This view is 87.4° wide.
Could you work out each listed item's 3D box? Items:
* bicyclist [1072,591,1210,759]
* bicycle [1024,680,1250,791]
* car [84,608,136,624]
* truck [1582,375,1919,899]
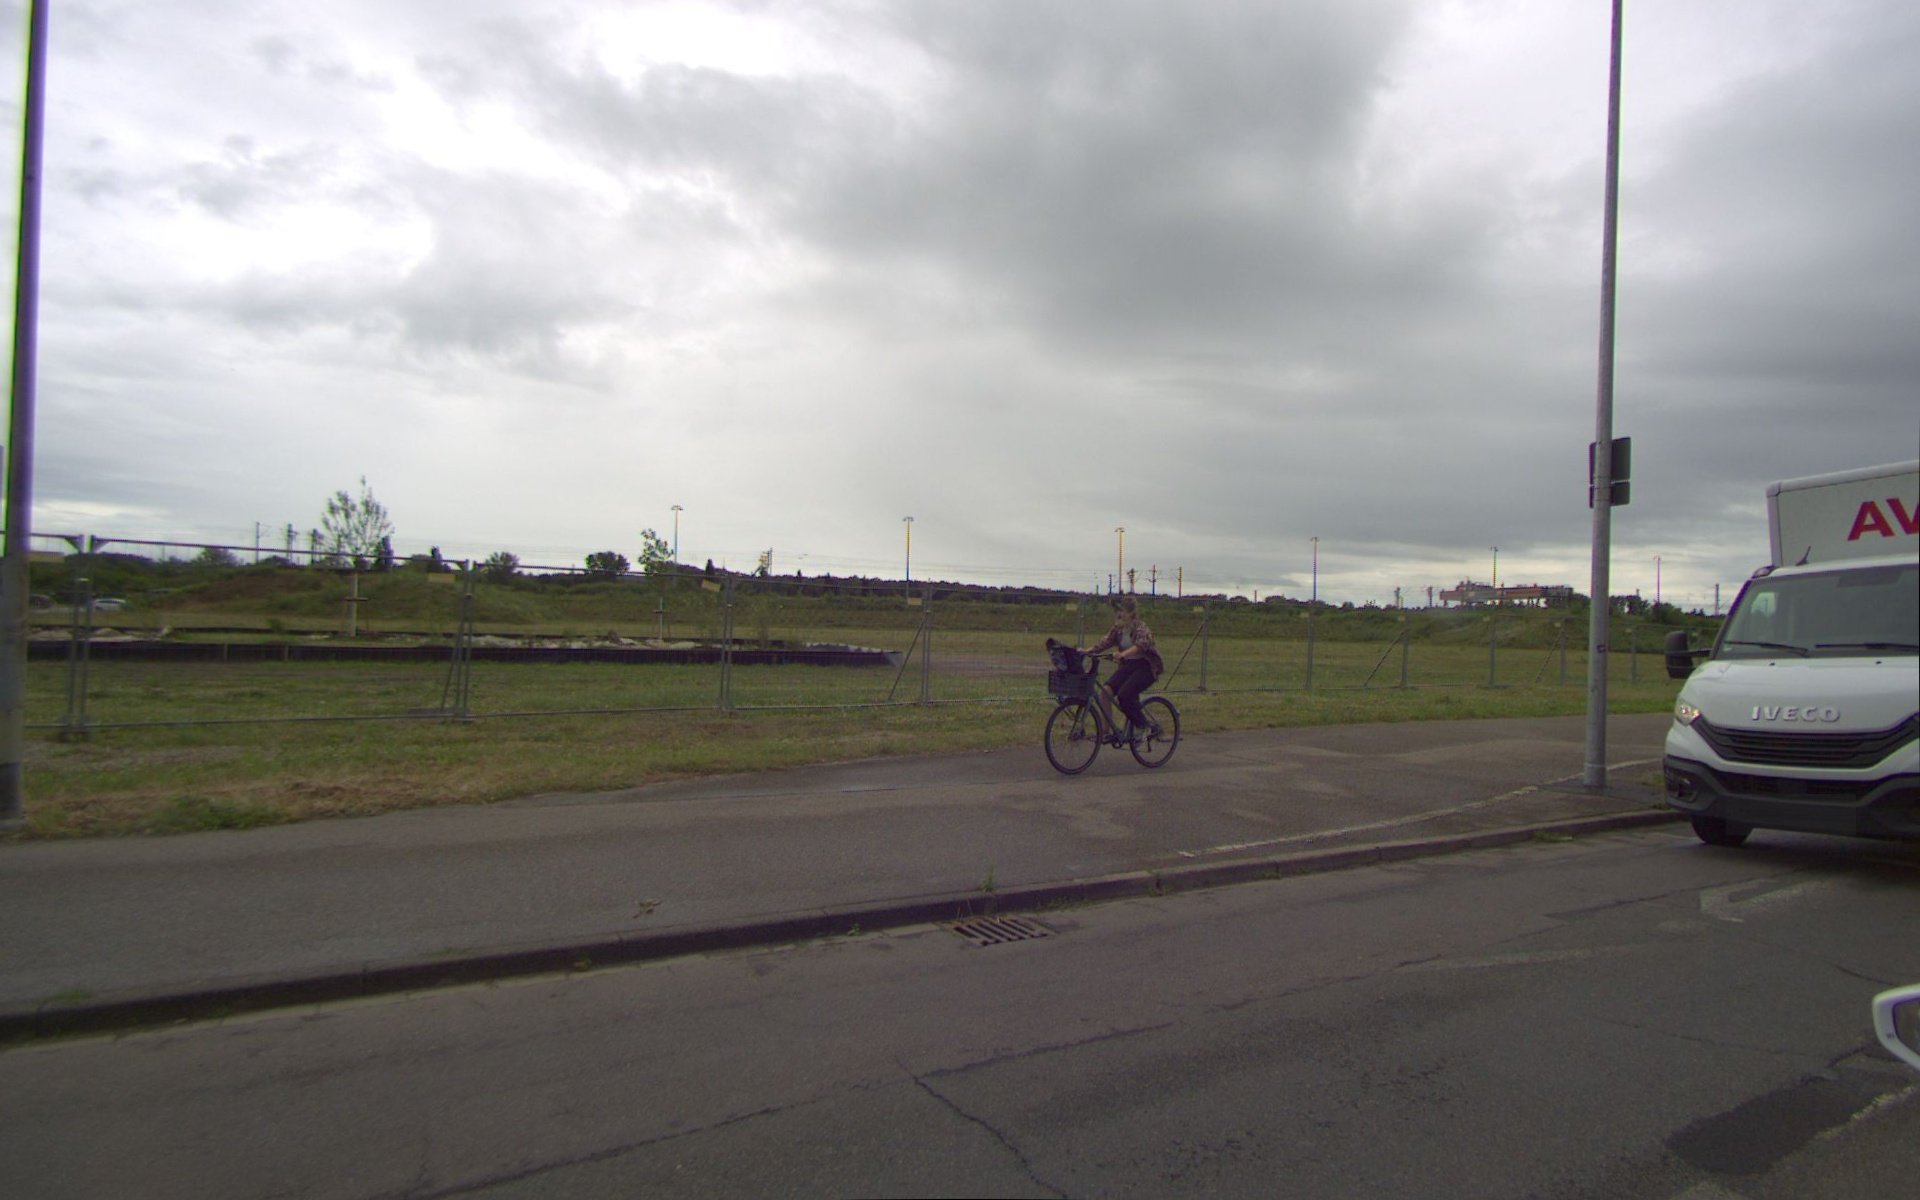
[{"bbox_3d":[1.782,0.711,9.908,1.081,1.546,0.778,2,-1,-30],"label":"bicyclist"},{"bbox_3d":[1.771,1.288,9.907,2.206,0.919,0.799,2,-1,-30],"label":"bicycle"},{"bbox_3d":[-92.716,1.747,109.568,3.951,1.639,1.985,2,-1,-29],"label":"car"},{"bbox_3d":[8.591,0.394,8.399,7.403,3.101,2.332,3,-4,-28],"label":"truck"}]
